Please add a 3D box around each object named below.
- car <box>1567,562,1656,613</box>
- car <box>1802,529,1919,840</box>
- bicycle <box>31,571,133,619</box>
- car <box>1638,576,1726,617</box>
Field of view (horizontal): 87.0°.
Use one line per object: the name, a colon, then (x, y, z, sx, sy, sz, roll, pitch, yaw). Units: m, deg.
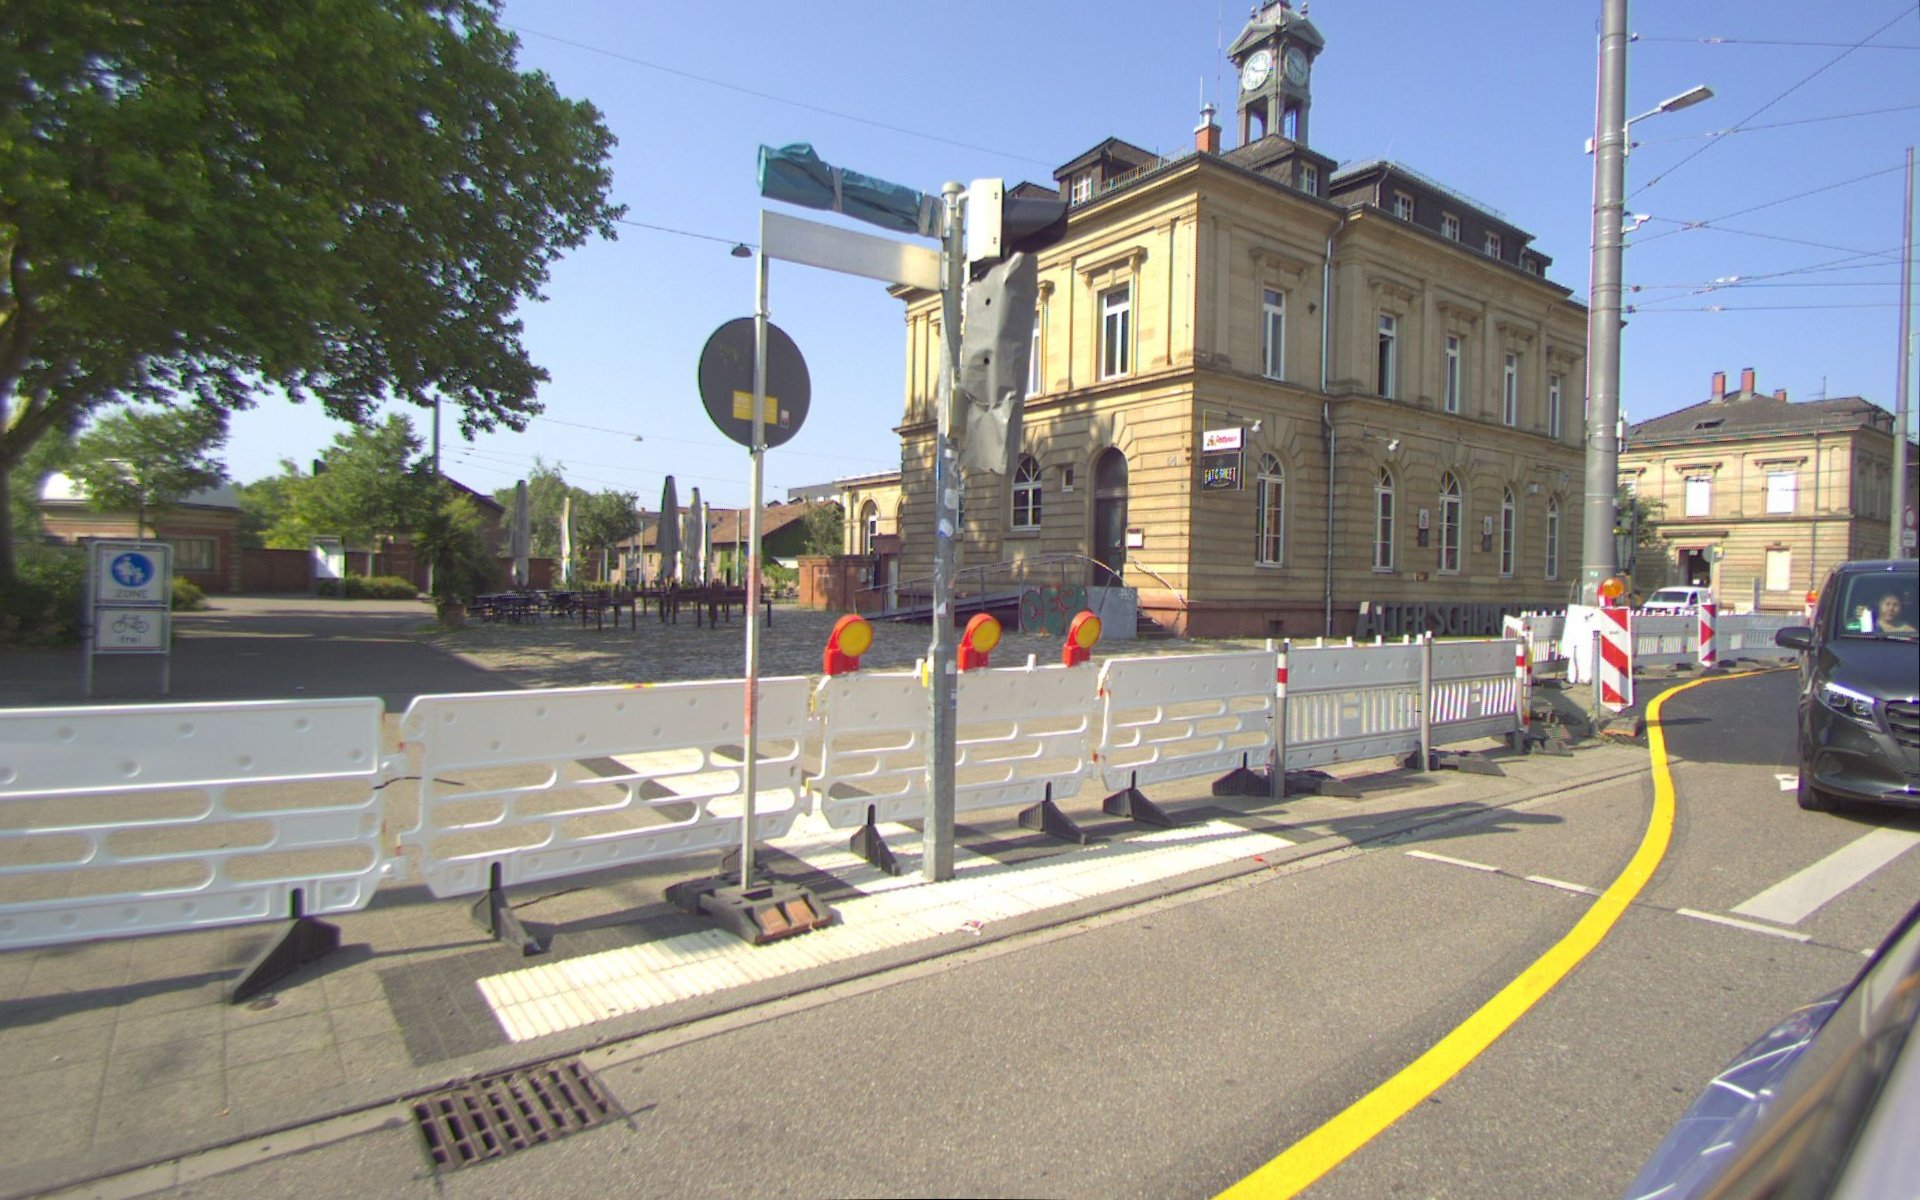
car: (33.194, -0.652, 51.498, 5.391, 2.453, 2.263, 0, 2, -40)
car: (7.519, 0.498, 7.499, 1.847, 1.910, 4.116, 0, 1, 42)
bicycle: (-21.094, -0.117, 24.363, 1.823, 1.102, 0.492, 1, 1, -39)
car: (33.967, -0.175, 47.574, 4.143, 1.804, 1.912, 0, 3, -33)
